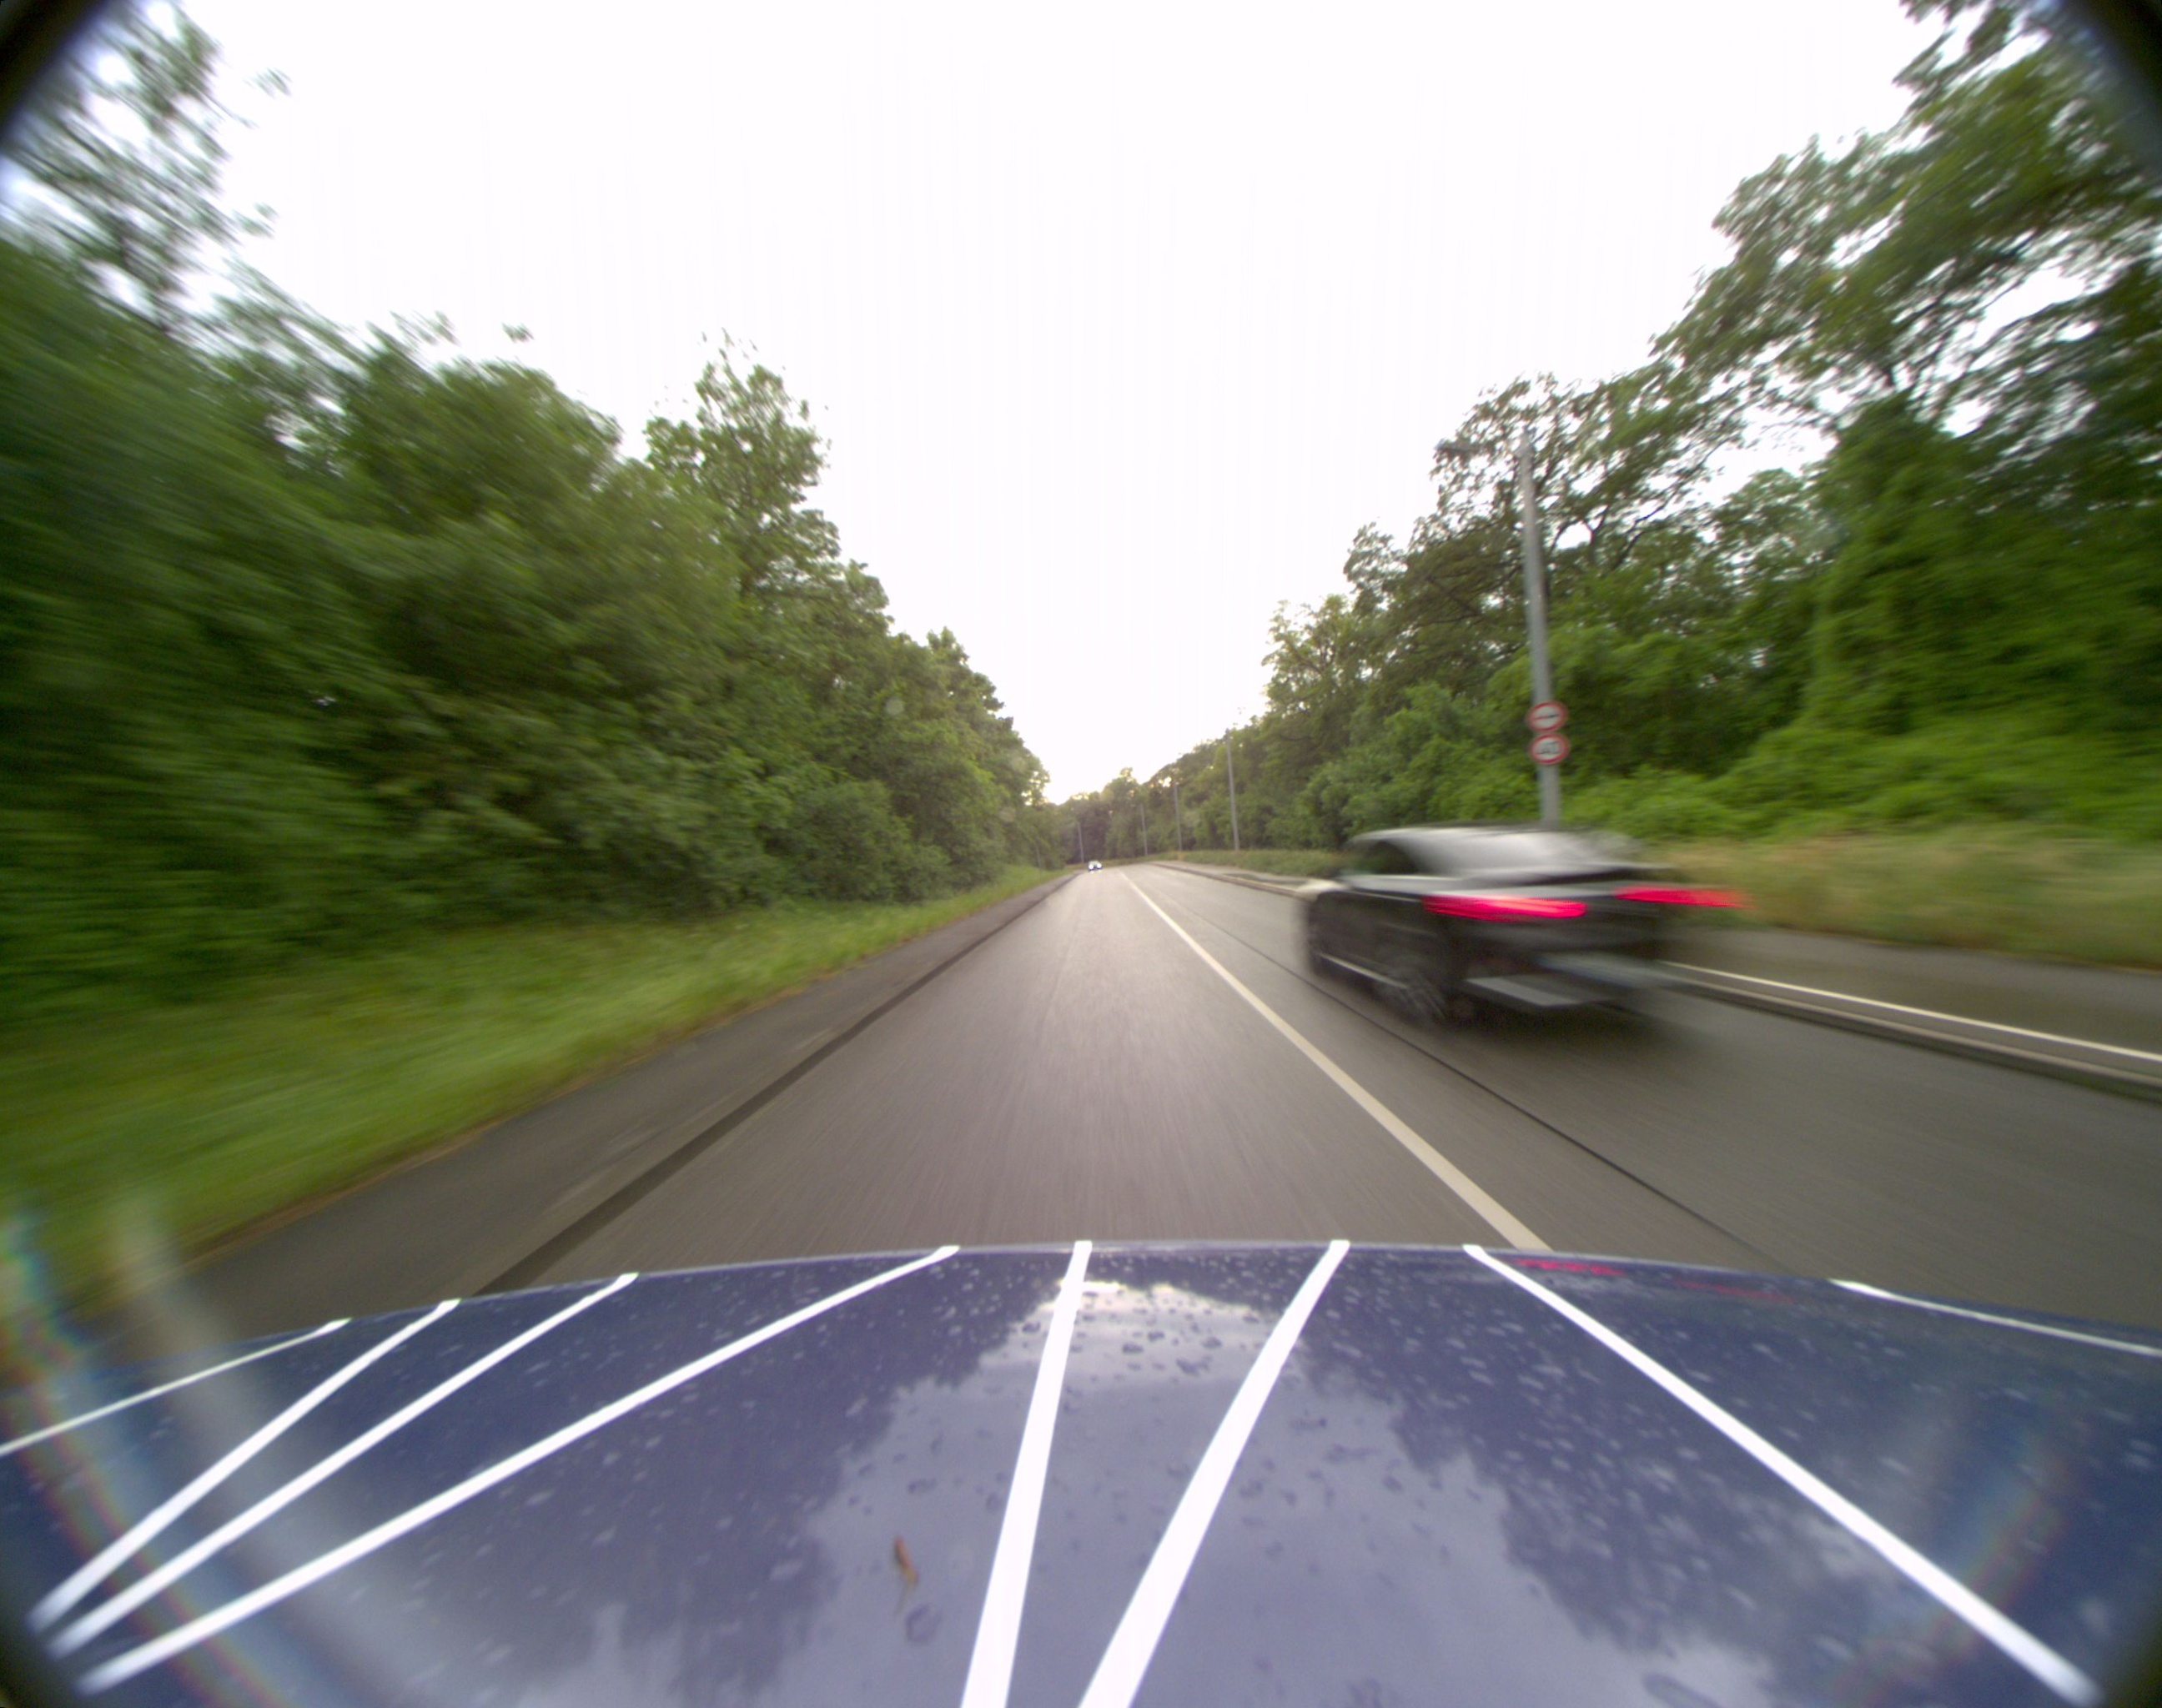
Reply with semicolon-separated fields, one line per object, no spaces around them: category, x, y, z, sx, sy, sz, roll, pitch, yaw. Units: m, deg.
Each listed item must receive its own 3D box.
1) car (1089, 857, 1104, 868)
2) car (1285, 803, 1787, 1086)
car;2.174;1.233;108.037;1.782;1.477;3.998;-3;0;-4
car;3.641;0.593;7.370;1.998;1.776;4.707;-3;0;0
